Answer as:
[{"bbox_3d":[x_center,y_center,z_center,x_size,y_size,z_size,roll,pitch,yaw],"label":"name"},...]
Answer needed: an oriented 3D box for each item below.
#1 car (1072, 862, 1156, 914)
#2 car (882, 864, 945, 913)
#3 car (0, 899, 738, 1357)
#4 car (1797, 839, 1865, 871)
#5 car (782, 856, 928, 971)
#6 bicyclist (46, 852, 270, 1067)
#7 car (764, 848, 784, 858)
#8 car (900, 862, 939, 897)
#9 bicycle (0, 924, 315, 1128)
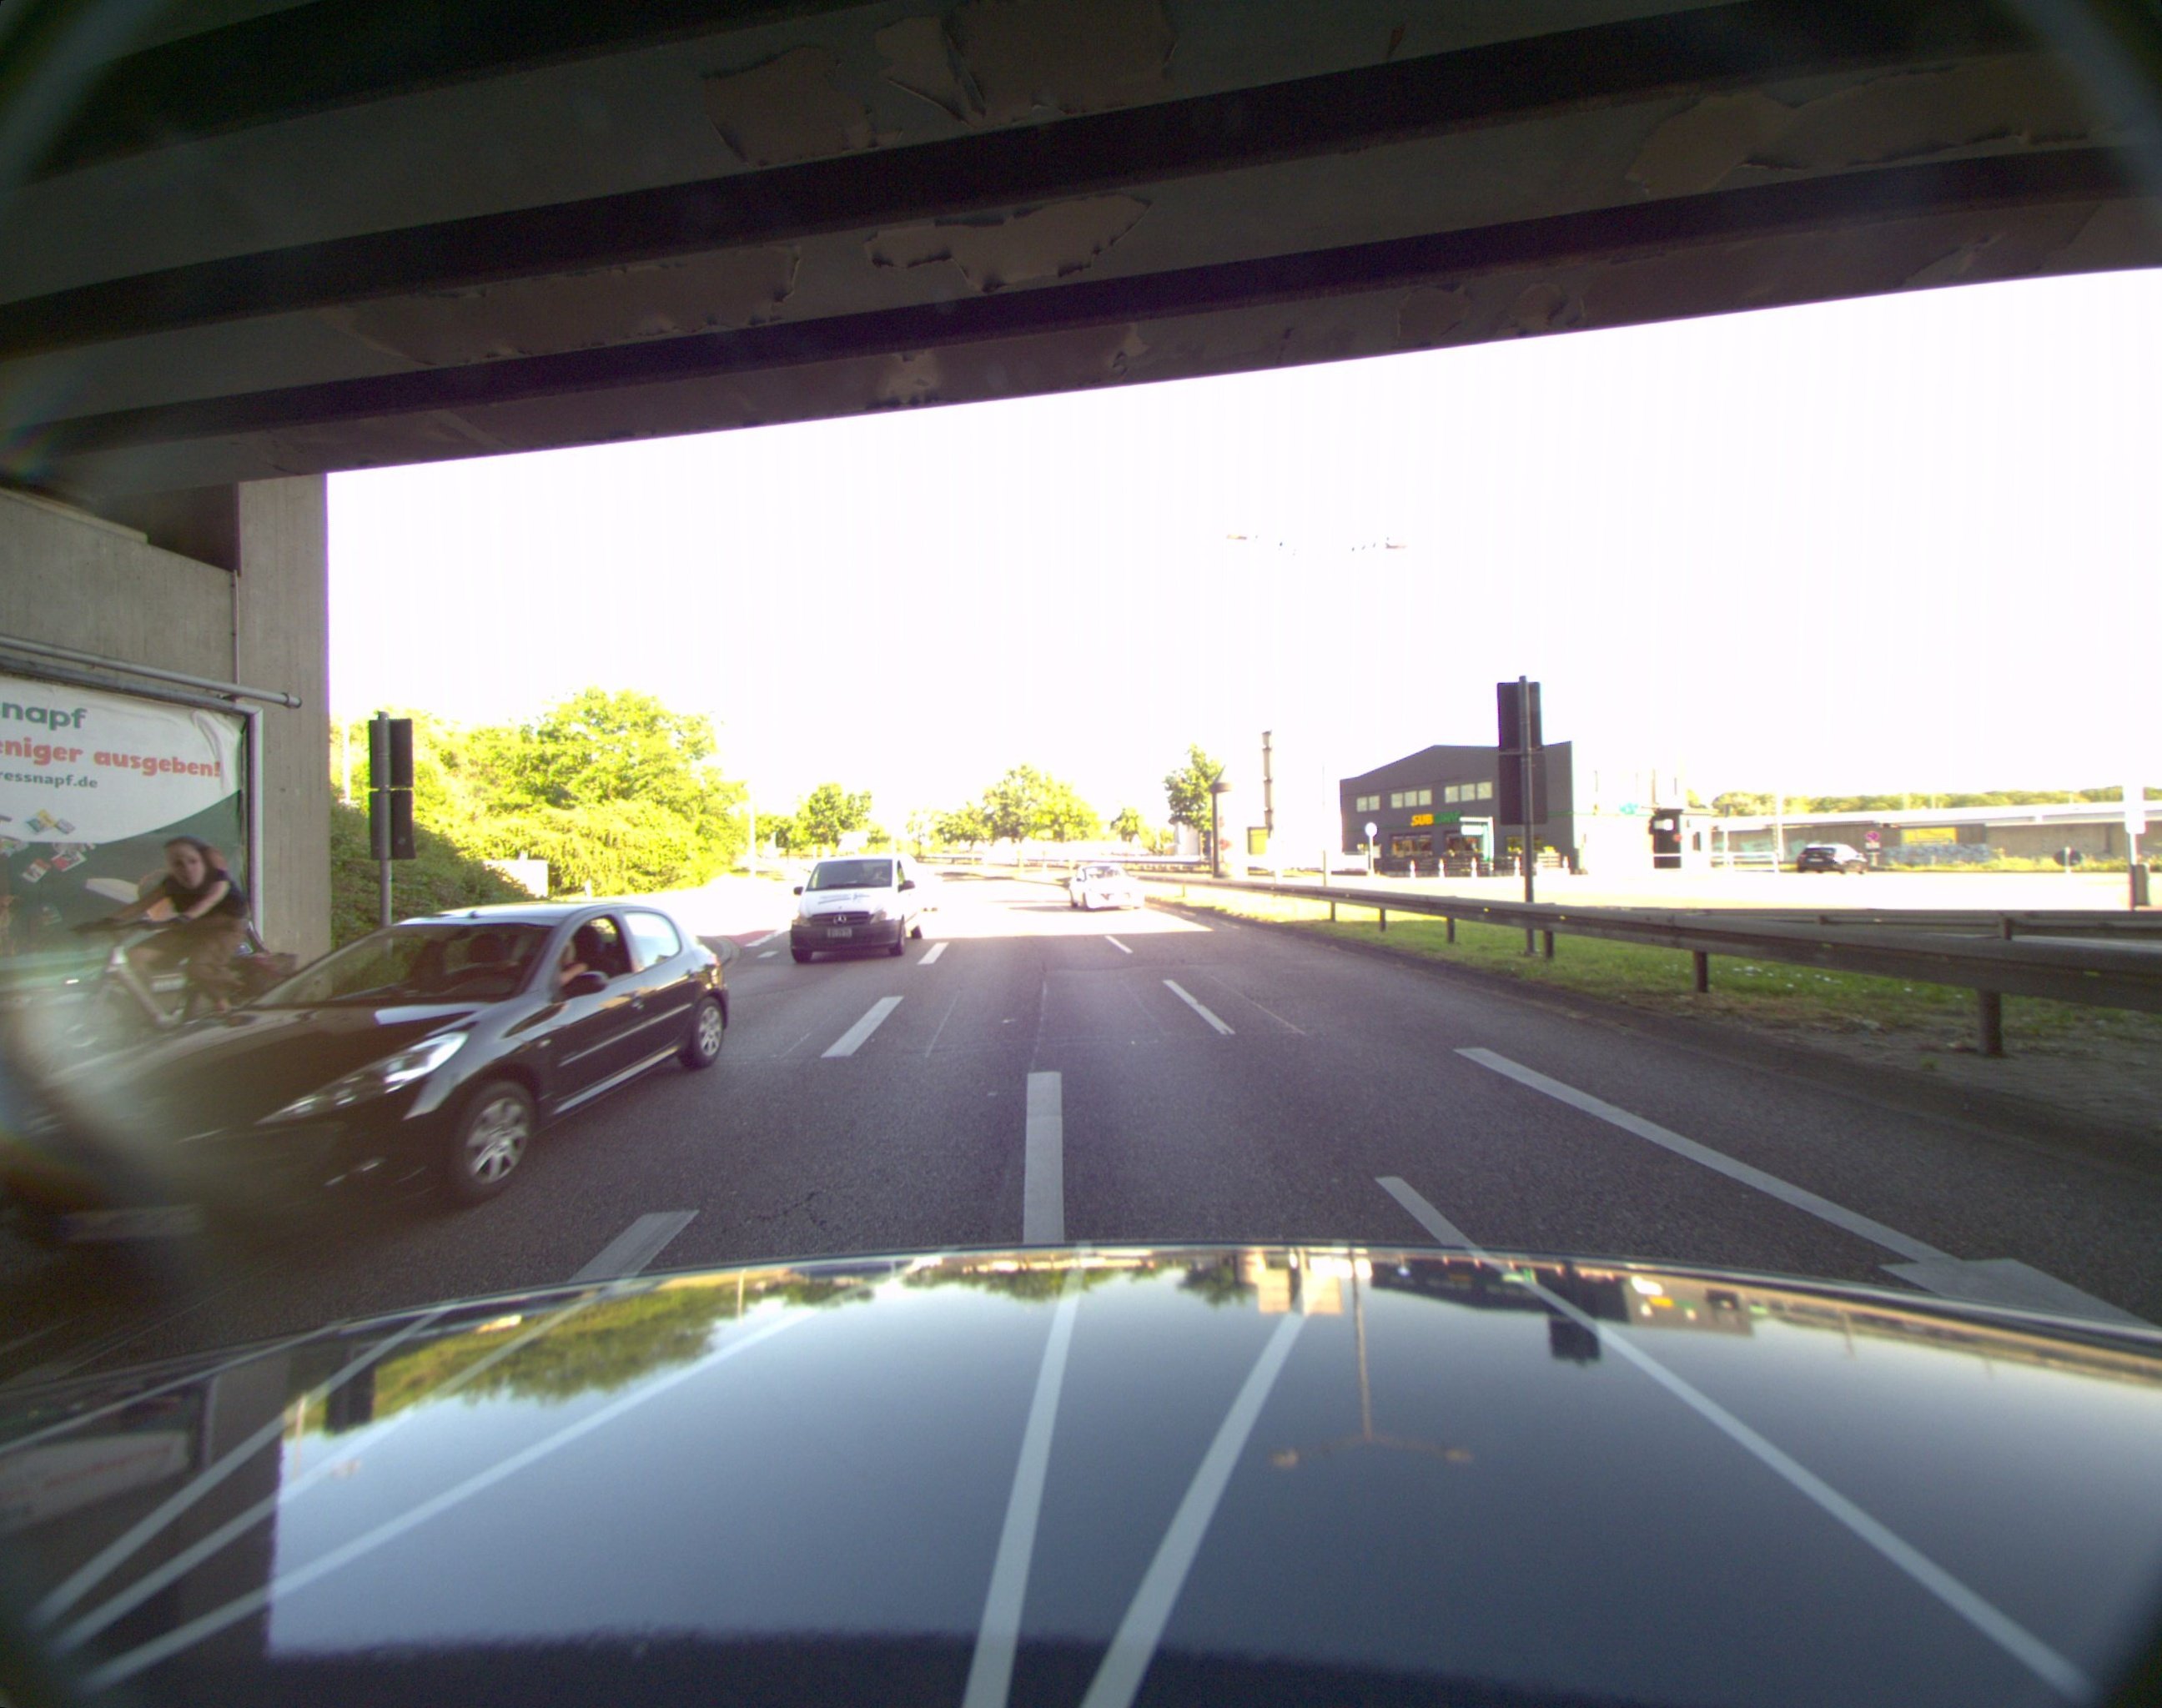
[{"bbox_3d":[0.925,1.036,23.502,1.738,1.395,3.869,-2,-2,-10],"label":"car"},{"bbox_3d":[-6.117,1.213,28.162,2.000,1.542,4.417,-2,0,-9],"label":"car"},{"bbox_3d":[-3.817,1.142,4.692,1.750,1.447,3.716,-2,0,-2],"label":"car"},{"bbox_3d":[38.419,0.050,38.881,4.007,1.434,1.878,-3,1,-37],"label":"car"},{"bbox_3d":[-4.255,0.998,15.098,1.903,1.825,4.832,-2,0,-7],"label":"car"},{"bbox_3d":[-7.069,0.764,5.868,0.654,1.524,0.847,1,-1,2],"label":"bicyclist"},{"bbox_3d":[-55.649,-0.173,137.783,1.810,1.597,4.283,-2,1,-44],"label":"car"},{"bbox_3d":[-8.399,1.281,39.326,1.781,1.591,4.100,-3,1,-14],"label":"car"},{"bbox_3d":[-7.072,1.182,5.763,0.652,1.160,1.779,1,-1,2],"label":"bicycle"}]
